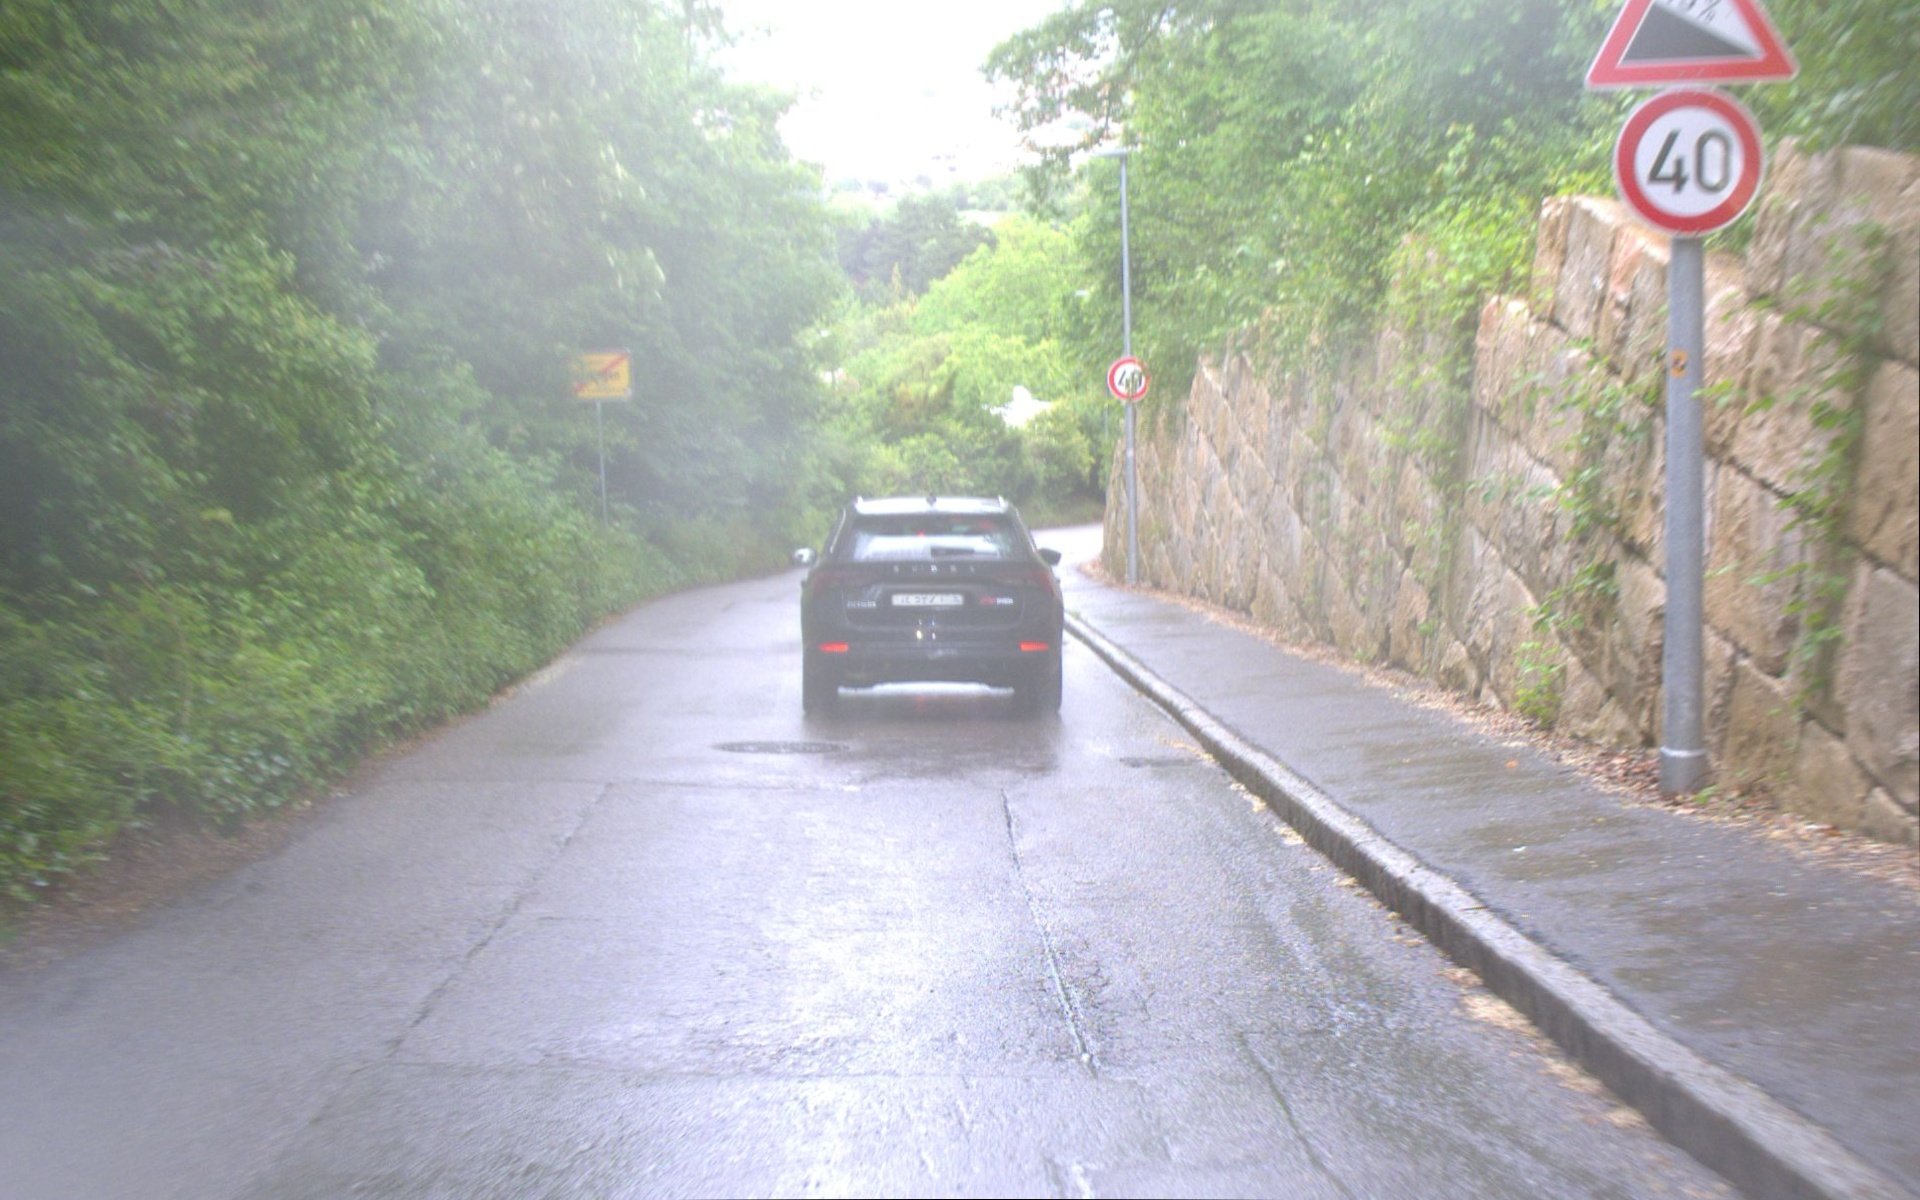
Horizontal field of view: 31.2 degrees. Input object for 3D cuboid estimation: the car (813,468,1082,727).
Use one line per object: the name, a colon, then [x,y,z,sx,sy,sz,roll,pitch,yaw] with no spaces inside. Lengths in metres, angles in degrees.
car: [-0.161,-0.090,23.996,1.699,1.445,4.002,-1,5,-2]

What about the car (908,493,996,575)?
car: [-0.173,-1.480,76.689,1.863,1.737,4.000,1,1,0]
